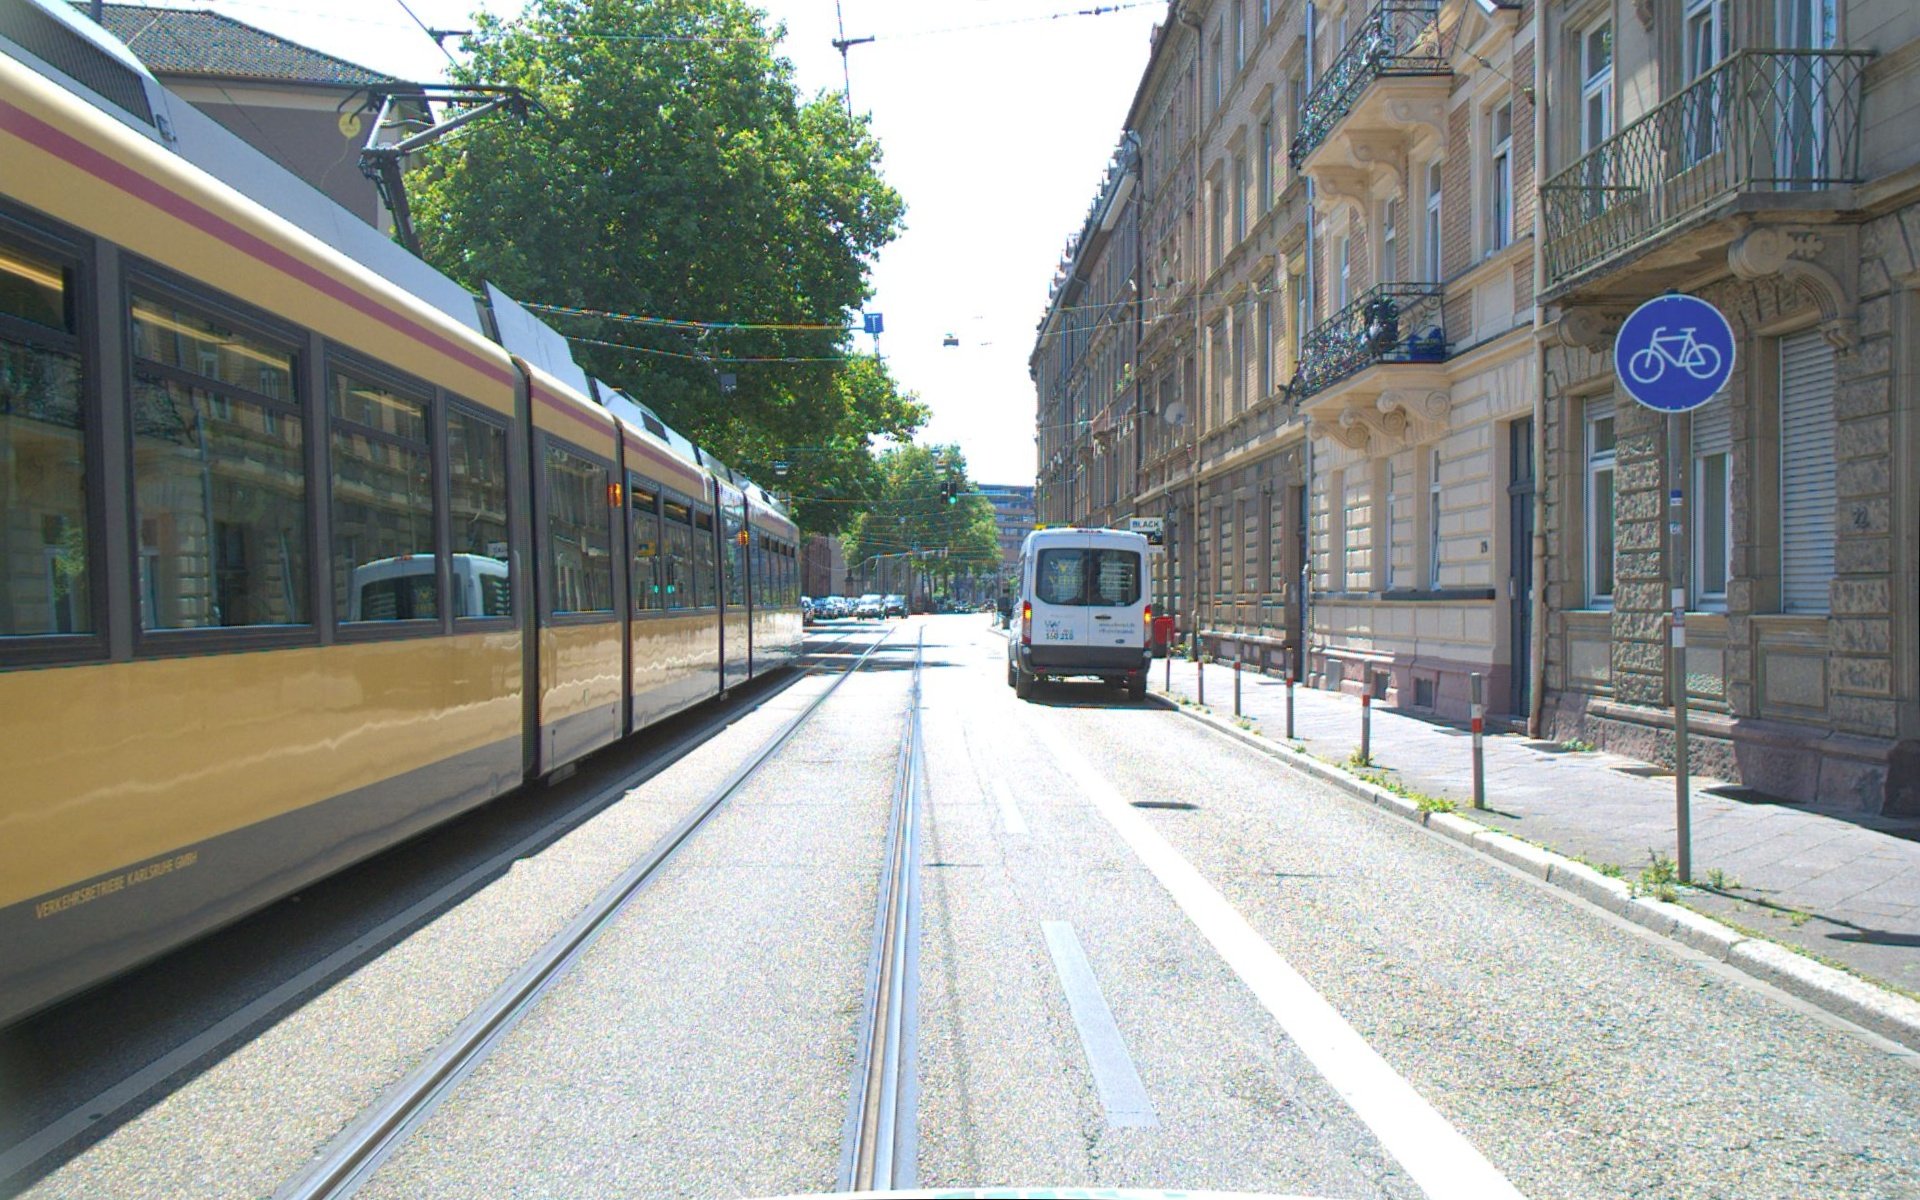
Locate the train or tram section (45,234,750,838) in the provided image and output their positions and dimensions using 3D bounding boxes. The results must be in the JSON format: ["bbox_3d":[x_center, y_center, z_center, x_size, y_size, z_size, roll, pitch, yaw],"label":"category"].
[{"bbox_3d":[-4.255,-0.392,16.746,2.901,3.643,13.418,0,0,-2],"label":"train or tram section"}]

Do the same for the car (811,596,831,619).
[{"bbox_3d":[-11.059,0.596,131.657,1.425,1.761,3.191,1,0,-3],"label":"car"}]

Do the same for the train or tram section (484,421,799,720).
[{"bbox_3d":[-4.551,-0.369,26.993,2.901,3.643,13.418,0,0,-2],"label":"train or tram section"}]

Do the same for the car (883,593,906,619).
[{"bbox_3d":[-5.081,0.442,127.402,1.641,1.892,3.997,1,0,-4],"label":"car"}]

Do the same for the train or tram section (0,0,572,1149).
[{"bbox_3d":[-3.918,-0.419,4.540,2.901,3.643,13.418,0,0,-2],"label":"train or tram section"}]

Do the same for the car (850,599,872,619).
[{"bbox_3d":[-7.195,0.645,120.148,1.498,1.433,3.487,1,0,-3],"label":"car"}]

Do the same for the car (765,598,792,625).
[{"bbox_3d":[-10.739,0.679,98.033,1.425,1.523,3.660,1,0,-3],"label":"car"}]

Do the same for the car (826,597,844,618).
[{"bbox_3d":[-10.348,0.608,136.800,1.425,1.761,3.191,1,0,-3],"label":"car"}]

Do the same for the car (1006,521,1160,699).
[{"bbox_3d":[1.870,0.147,26.764,2.025,2.544,5.453,1,0,0],"label":"car"}]

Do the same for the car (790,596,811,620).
[{"bbox_3d":[-12.179,0.593,126.244,1.425,1.761,3.191,1,0,-3],"label":"car"}]
